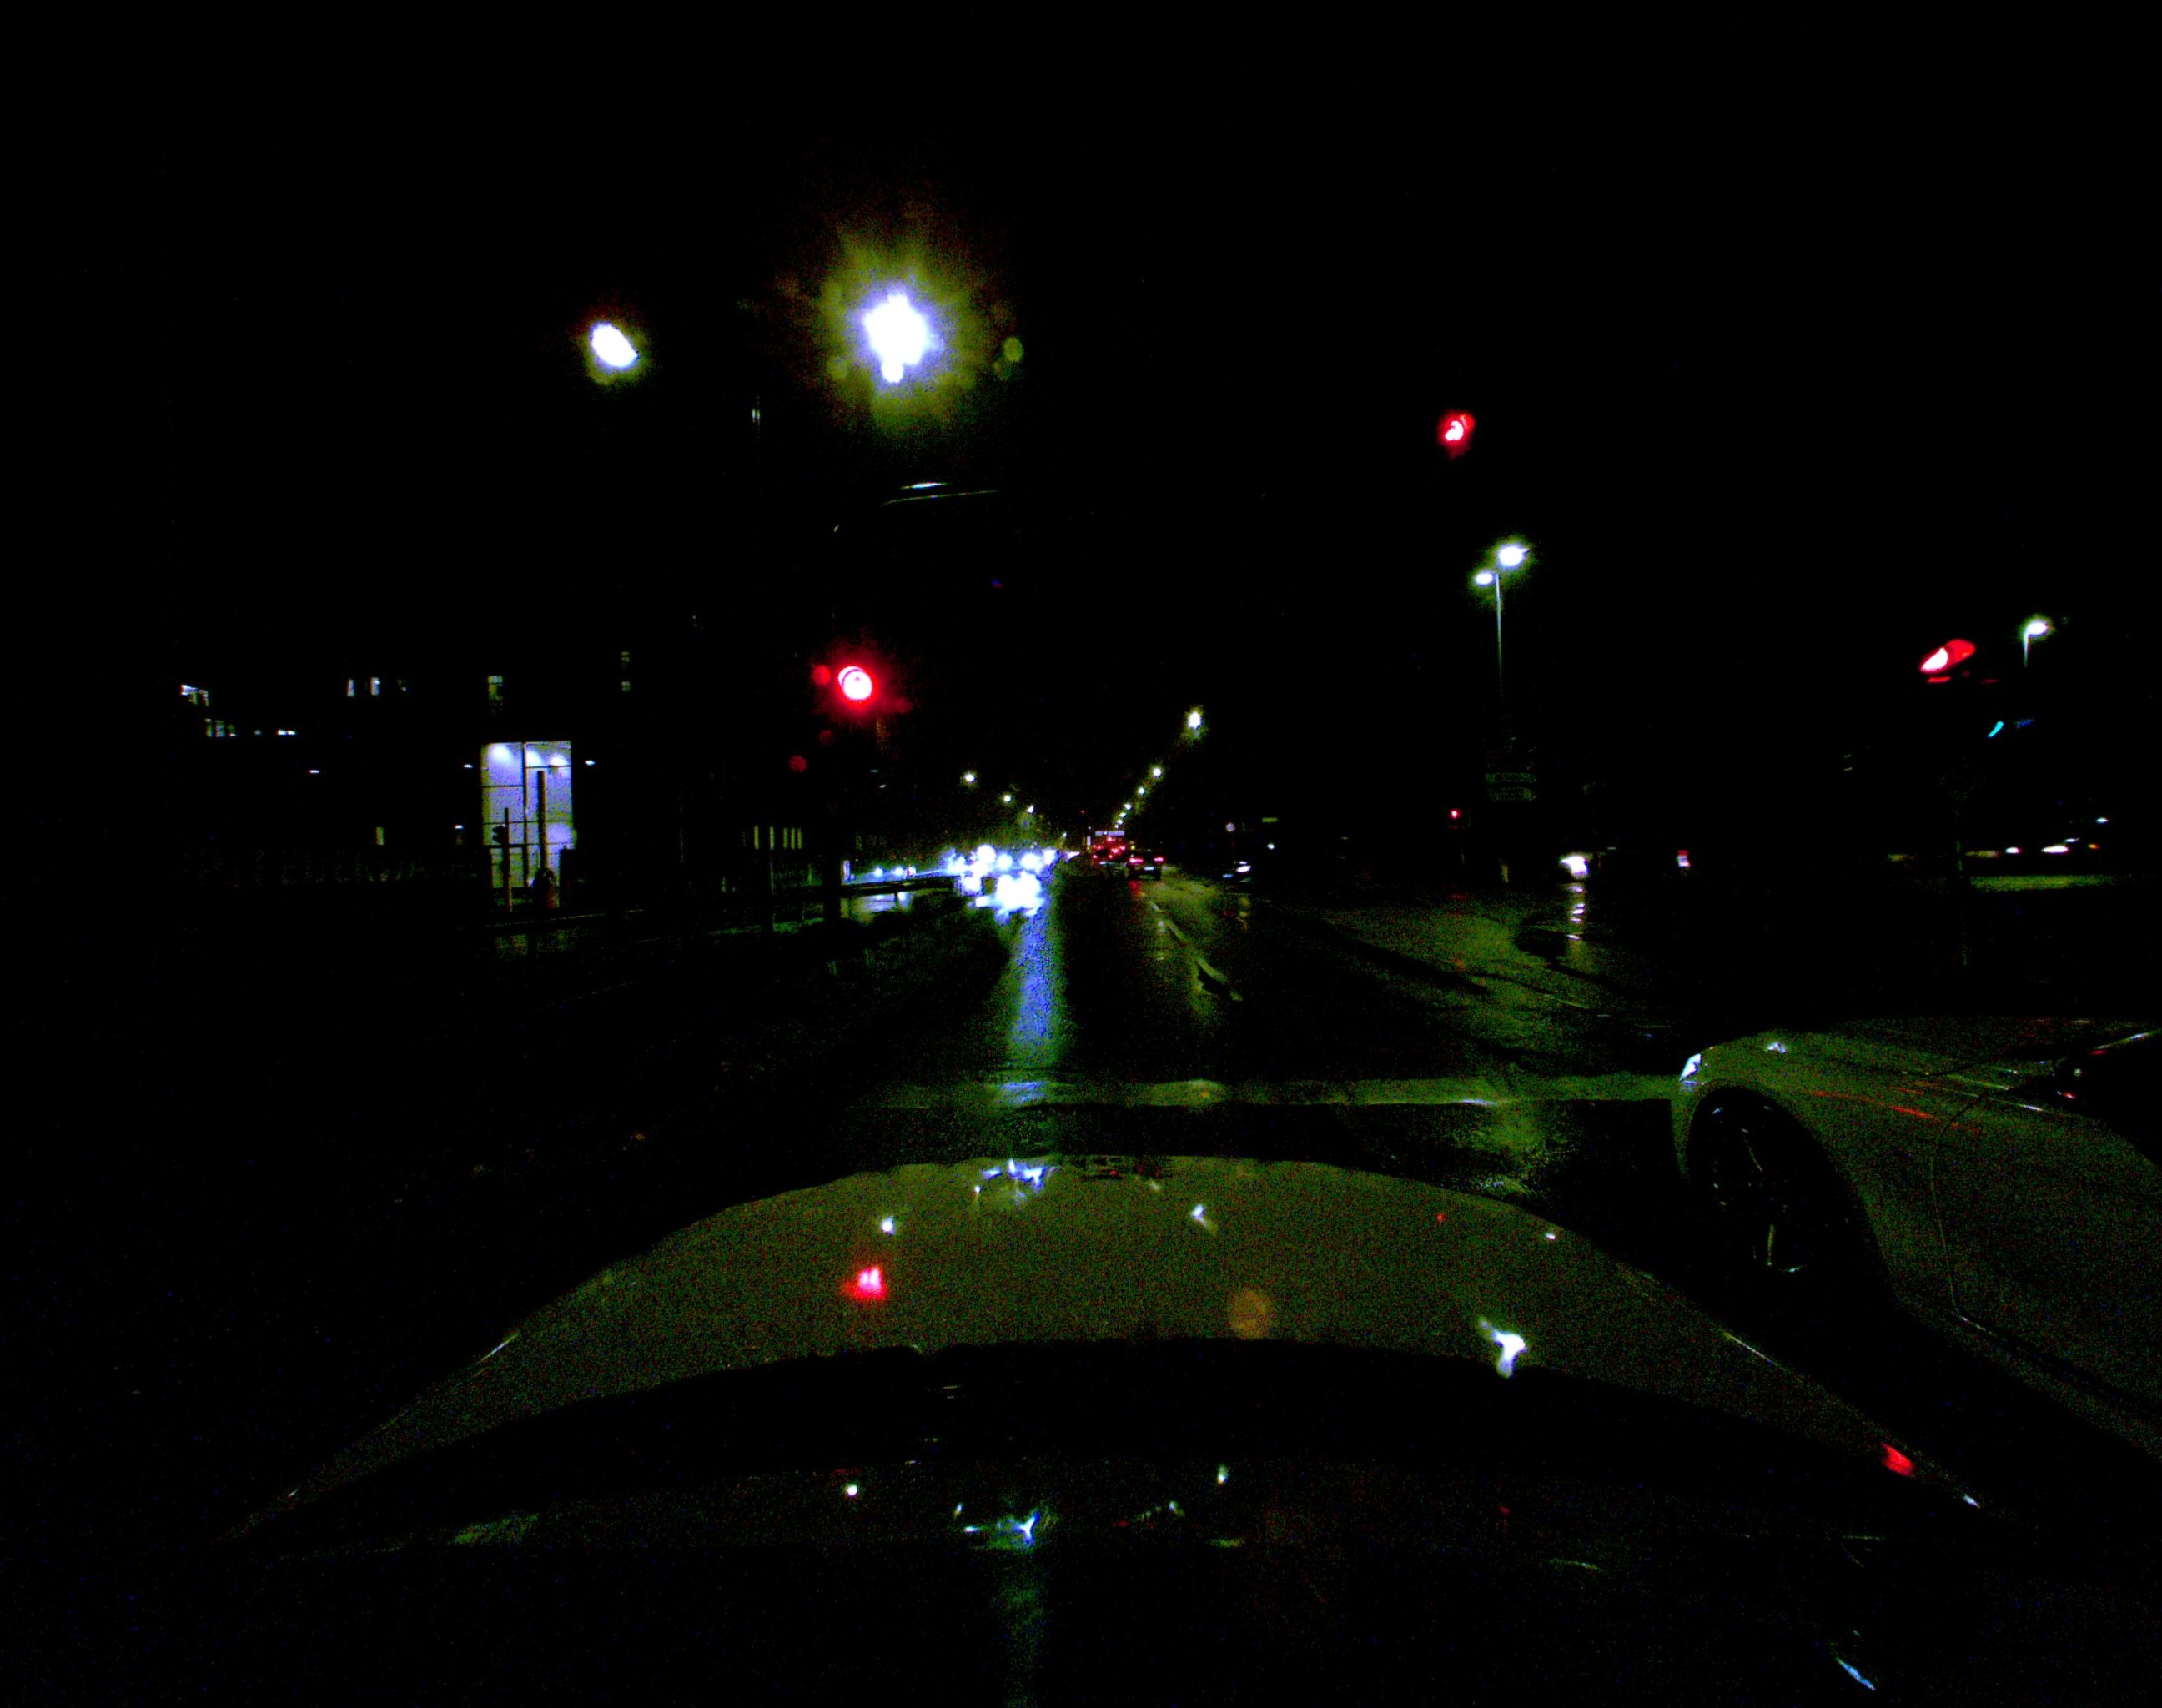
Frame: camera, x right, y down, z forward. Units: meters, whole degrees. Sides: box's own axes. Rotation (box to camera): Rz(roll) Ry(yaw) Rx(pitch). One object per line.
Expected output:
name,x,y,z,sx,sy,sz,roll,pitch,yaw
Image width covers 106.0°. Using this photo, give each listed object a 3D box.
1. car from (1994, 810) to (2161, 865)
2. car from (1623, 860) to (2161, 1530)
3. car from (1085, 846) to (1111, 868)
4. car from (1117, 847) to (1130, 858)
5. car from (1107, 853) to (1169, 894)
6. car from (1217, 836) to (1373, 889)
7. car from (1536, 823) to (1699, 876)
car,33.775,-0.521,27.076,4.469,1.749,1.862,0,-1,5
car,3.119,0.716,1.307,1.710,1.404,4.351,0,-1,2
car,1.384,0.245,64.668,1.986,1.705,4.634,0,-1,2
car,6.885,-0.216,132.682,1.986,1.759,4.001,0,-1,2
car,2.940,0.989,43.248,1.996,2.014,4.611,0,-1,-13
car,7.362,0.294,28.264,4.897,1.741,1.967,0,-1,-7
car,18.524,-0.146,28.302,4.362,1.741,1.913,0,-1,5
